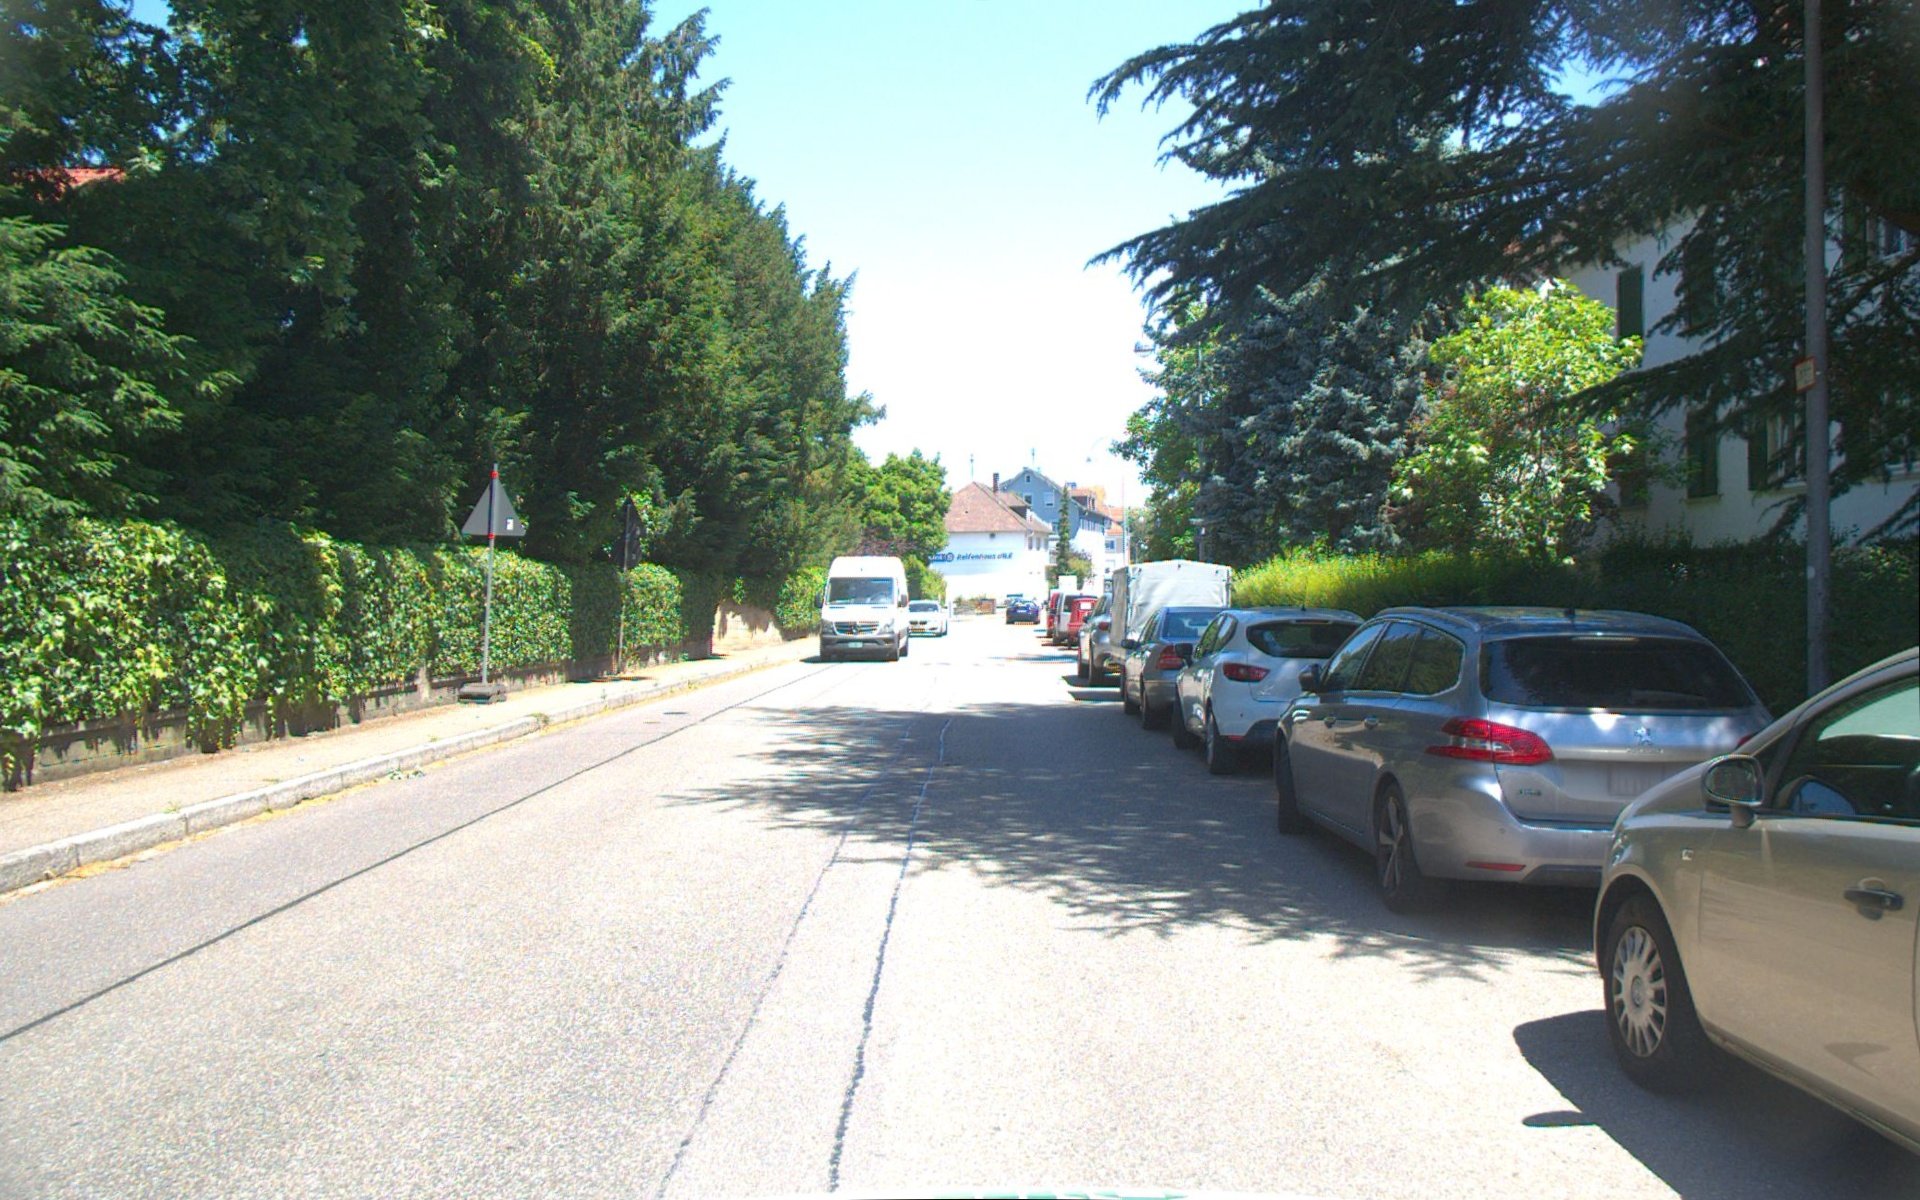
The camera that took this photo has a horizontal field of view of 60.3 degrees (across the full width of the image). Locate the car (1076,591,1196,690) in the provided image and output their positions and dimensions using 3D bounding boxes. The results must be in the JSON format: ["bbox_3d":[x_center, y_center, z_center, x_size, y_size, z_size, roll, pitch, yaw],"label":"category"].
[{"bbox_3d":[3.185,0.681,30.738,1.735,1.660,4.604,0,1,0],"label":"car"}]

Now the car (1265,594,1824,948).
[{"bbox_3d":[2.897,0.743,9.236,1.581,1.476,4.374,1,0,0],"label":"car"}]

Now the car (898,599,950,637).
[{"bbox_3d":[-1.435,0.697,67.163,1.825,1.407,4.606,-1,1,2],"label":"car"}]

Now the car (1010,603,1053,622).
[{"bbox_3d":[6.950,1.236,161.219,4.041,1.805,1.830,0,-1,7],"label":"car"}]

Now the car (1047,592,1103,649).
[{"bbox_3d":[3.818,0.642,55.349,1.710,1.813,4.544,0,0,2],"label":"car"}]

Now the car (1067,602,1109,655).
[{"bbox_3d":[3.878,0.845,50.370,1.234,1.521,2.710,0,0,4],"label":"car"}]

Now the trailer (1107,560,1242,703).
[{"bbox_3d":[3.312,0.439,26.140,1.645,2.104,3.708,0,1,0],"label":"trailer"}]

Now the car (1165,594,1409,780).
[{"bbox_3d":[2.967,0.718,15.780,1.581,1.495,4.065,-1,0,1],"label":"car"}]

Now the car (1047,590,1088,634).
[{"bbox_3d":[5.075,0.537,78.781,1.863,1.958,4.721,-1,1,3],"label":"car"}]

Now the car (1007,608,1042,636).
[{"bbox_3d":[3.763,1.258,95.657,1.756,1.536,4.003,1,1,5],"label":"car"}]

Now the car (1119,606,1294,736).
[{"bbox_3d":[2.939,0.798,20.482,1.581,1.420,4.259,0,0,1],"label":"car"}]

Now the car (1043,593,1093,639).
[{"bbox_3d":[4.215,0.605,65.053,1.863,1.758,4.393,0,0,3],"label":"car"}]

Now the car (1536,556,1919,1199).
[{"bbox_3d":[2.951,0.696,4.021,1.582,1.539,4.063,2,0,-1],"label":"car"}]

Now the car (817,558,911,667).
[{"bbox_3d":[-2.370,0.293,42.363,1.952,2.577,5.895,-1,0,1],"label":"car"}]
